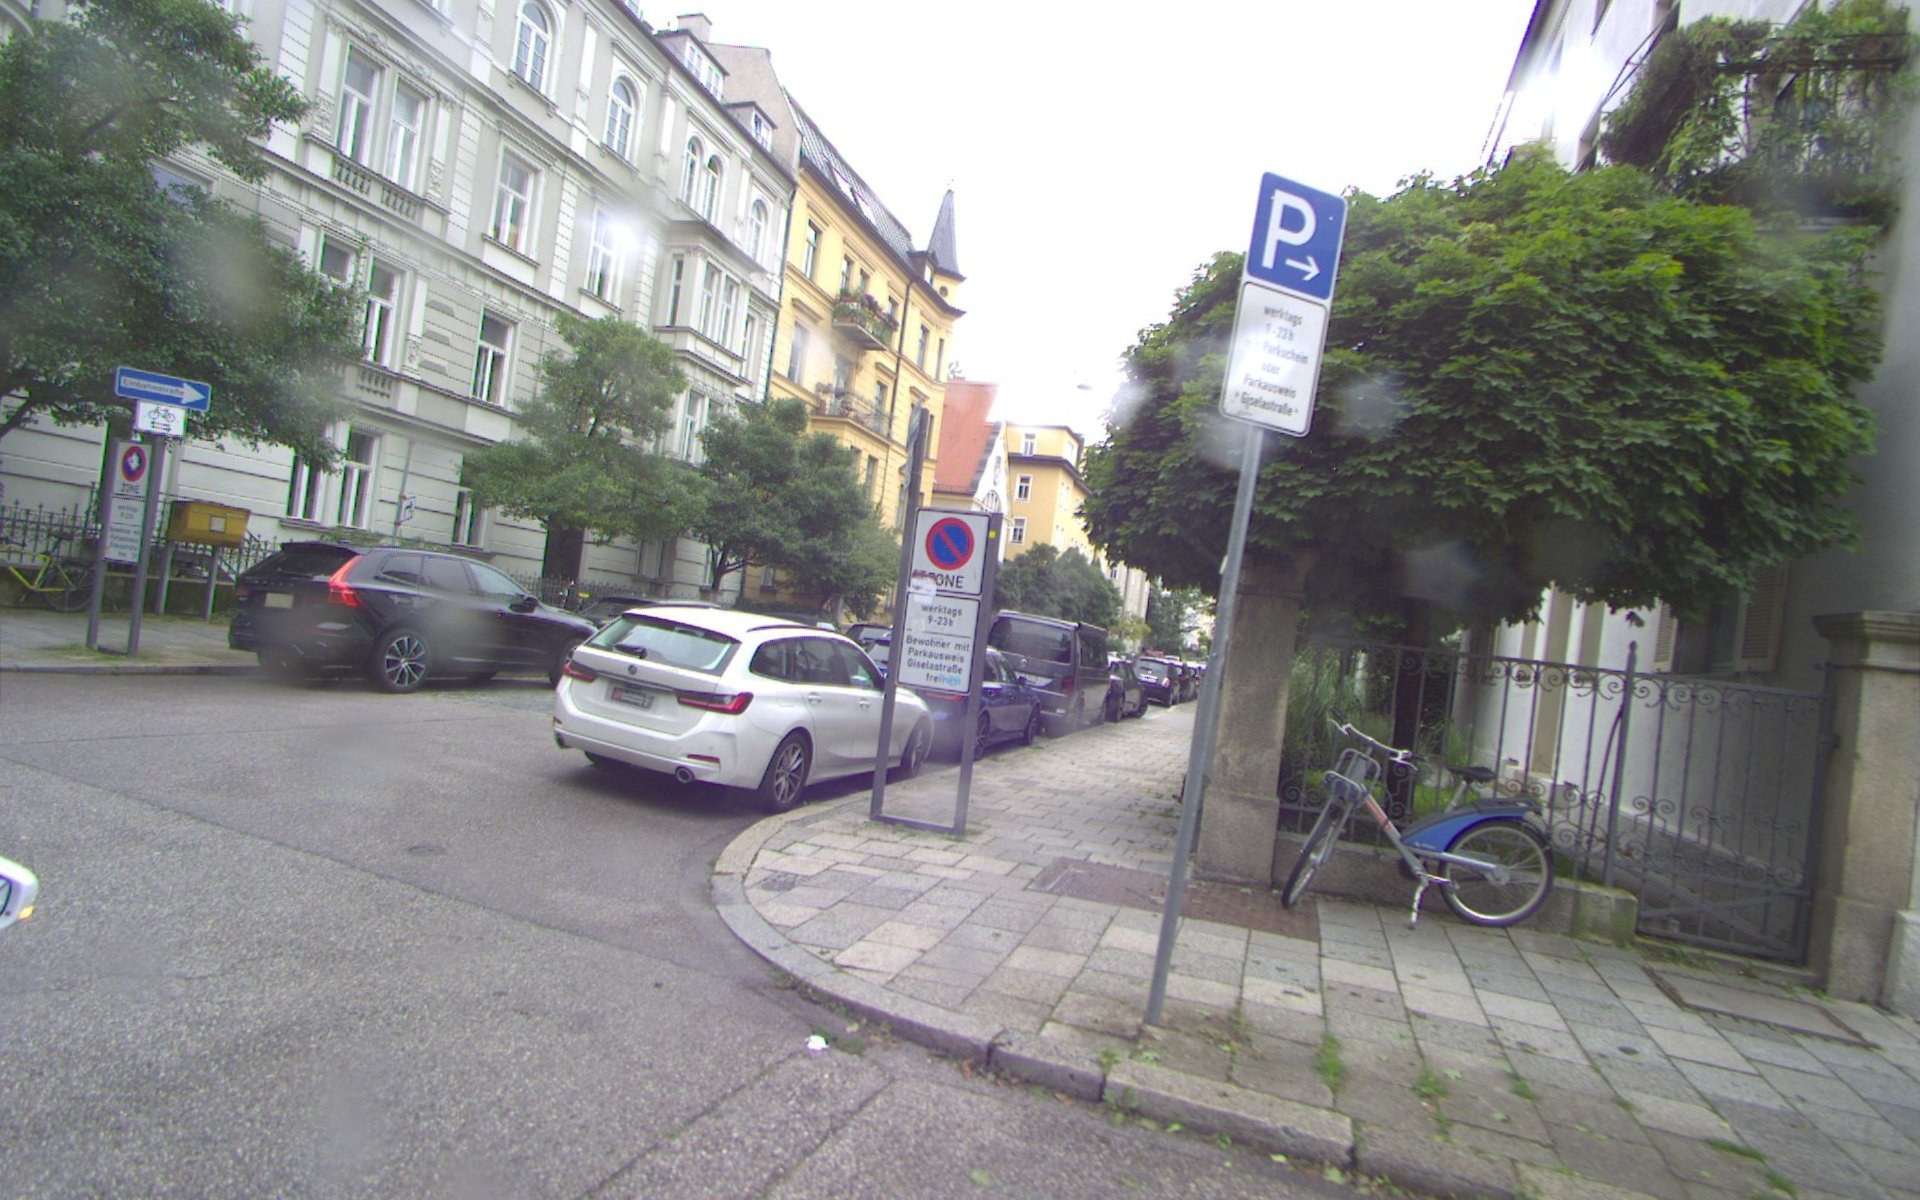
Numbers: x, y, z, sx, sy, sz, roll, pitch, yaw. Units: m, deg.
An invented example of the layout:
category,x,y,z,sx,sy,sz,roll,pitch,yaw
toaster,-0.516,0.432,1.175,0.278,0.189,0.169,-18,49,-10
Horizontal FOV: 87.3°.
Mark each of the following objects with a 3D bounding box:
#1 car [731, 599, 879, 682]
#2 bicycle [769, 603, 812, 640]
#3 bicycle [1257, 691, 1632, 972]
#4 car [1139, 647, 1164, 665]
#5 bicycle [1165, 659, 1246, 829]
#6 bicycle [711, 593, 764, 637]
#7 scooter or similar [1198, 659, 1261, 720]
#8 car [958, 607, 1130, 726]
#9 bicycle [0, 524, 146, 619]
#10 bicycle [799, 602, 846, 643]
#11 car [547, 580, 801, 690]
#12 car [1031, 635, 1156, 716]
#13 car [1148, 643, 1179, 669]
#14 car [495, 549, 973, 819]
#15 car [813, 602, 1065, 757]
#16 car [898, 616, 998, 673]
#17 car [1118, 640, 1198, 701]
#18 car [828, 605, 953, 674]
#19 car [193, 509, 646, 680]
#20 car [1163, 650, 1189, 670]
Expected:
category,x,y,z,sx,sy,sz,roll,pitch,yaw
car,-3.315,0.917,22.232,1.677,1.534,3.729,5,-2,17
bicycle,-5.297,0.682,31.612,0.412,1.039,1.766,8,-1,19
bicycle,2.699,1.264,5.782,1.743,1.240,0.544,7,0,13
car,18.803,5.514,98.818,1.892,1.654,3.742,4,-3,18
bicycle,2.229,1.221,9.010,0.459,1.290,1.921,8,-1,16
bicycle,-6.320,0.441,28.709,0.365,1.115,1.834,8,-1,22
scooter or similar,6.629,2.210,24.724,1.593,1.348,0.623,8,-3,-42
car,1.755,1.227,19.051,1.990,1.710,4.852,7,-1,18
bicycle,-11.564,-0.366,12.659,0.547,1.040,1.929,8,0,24
bicycle,-4.528,0.761,33.289,0.412,1.157,1.762,8,-1,31
car,-4.778,0.665,17.811,1.776,1.522,5.181,5,-2,16
car,3.357,1.815,24.411,1.892,1.451,4.804,10,-1,20
car,16.232,4.508,80.189,1.892,1.860,3.742,4,-3,18
car,-1.620,0.690,9.347,1.877,1.549,4.924,10,0,18
car,-0.040,1.088,14.194,1.899,1.524,4.879,9,-1,18
car,-0.311,1.462,31.933,1.892,1.564,4.003,3,-3,18
car,6.824,2.417,34.301,1.892,1.654,4.049,9,-1,20
car,-1.725,1.098,26.643,1.700,1.558,4.340,3,-3,18
car,-6.398,0.093,12.793,1.908,1.671,5.058,3,-3,18
car,19.899,5.580,92.616,1.892,1.654,3.742,4,-3,18
